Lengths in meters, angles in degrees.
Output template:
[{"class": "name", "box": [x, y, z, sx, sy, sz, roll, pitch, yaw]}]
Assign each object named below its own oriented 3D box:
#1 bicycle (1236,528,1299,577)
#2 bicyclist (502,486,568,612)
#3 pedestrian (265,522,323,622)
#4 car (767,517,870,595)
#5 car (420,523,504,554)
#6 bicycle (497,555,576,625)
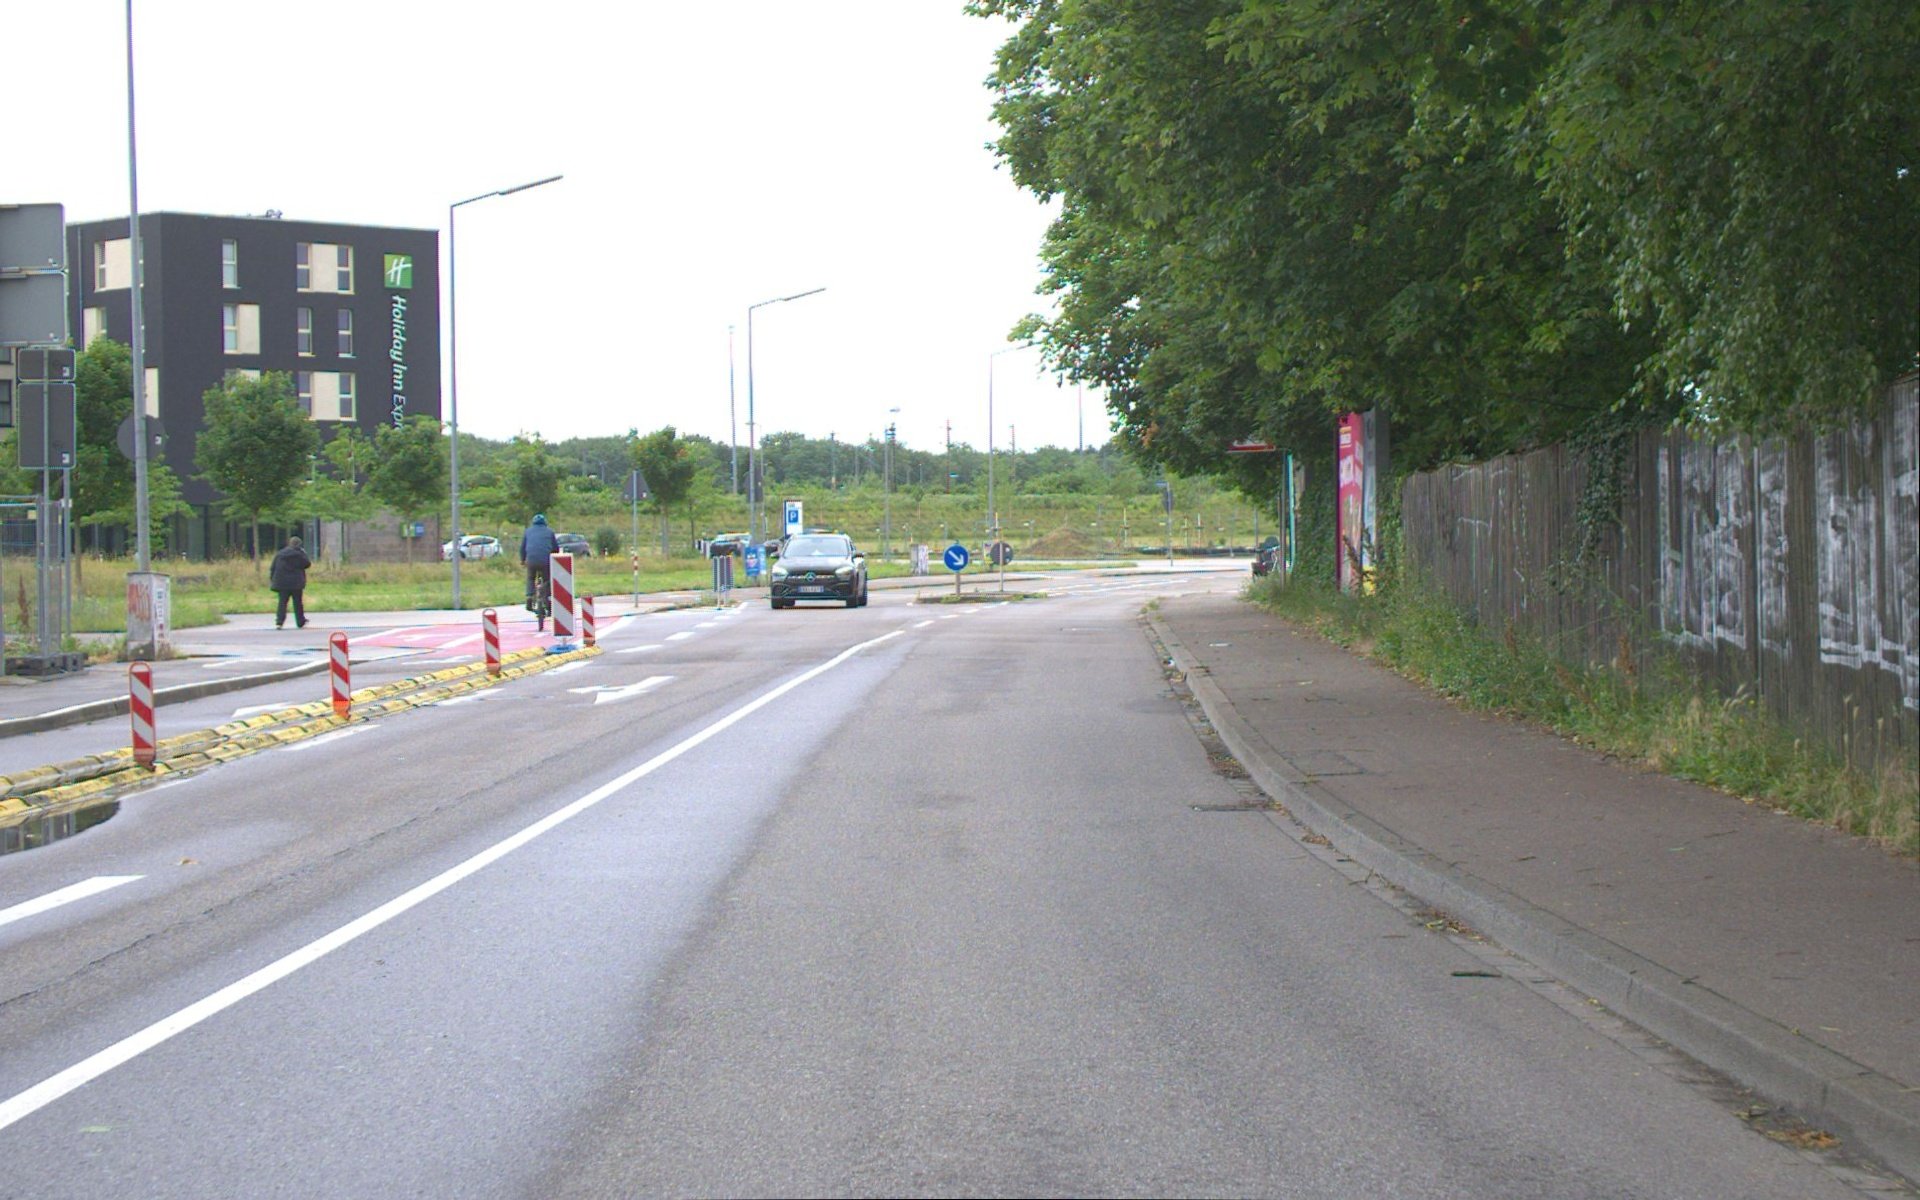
[{"class": "bicycle", "box": [7.131, -1.104, 79.614, 0.797, 1.107, 1.949, 0, 1, 26]}, {"class": "bicyclist", "box": [-6.892, -0.831, 55.796, 0.861, 2.006, 1.177, -1, 2, 2]}, {"class": "pedestrian", "box": [-12.185, -0.518, 62.899, 0.843, 1.776, 1.077, -1, 2, -1]}, {"class": "car", "box": [-3.006, -0.967, 73.678, 1.881, 1.561, 4.358, -1, 2, 2]}, {"class": "car", "box": [-26.283, -3.263, 181.503, 1.998, 1.512, 4.145, 1, 3, 36]}, {"class": "bicycle", "box": [-6.868, -0.173, 55.853, 0.884, 1.048, 2.469, -1, 2, 2]}]
